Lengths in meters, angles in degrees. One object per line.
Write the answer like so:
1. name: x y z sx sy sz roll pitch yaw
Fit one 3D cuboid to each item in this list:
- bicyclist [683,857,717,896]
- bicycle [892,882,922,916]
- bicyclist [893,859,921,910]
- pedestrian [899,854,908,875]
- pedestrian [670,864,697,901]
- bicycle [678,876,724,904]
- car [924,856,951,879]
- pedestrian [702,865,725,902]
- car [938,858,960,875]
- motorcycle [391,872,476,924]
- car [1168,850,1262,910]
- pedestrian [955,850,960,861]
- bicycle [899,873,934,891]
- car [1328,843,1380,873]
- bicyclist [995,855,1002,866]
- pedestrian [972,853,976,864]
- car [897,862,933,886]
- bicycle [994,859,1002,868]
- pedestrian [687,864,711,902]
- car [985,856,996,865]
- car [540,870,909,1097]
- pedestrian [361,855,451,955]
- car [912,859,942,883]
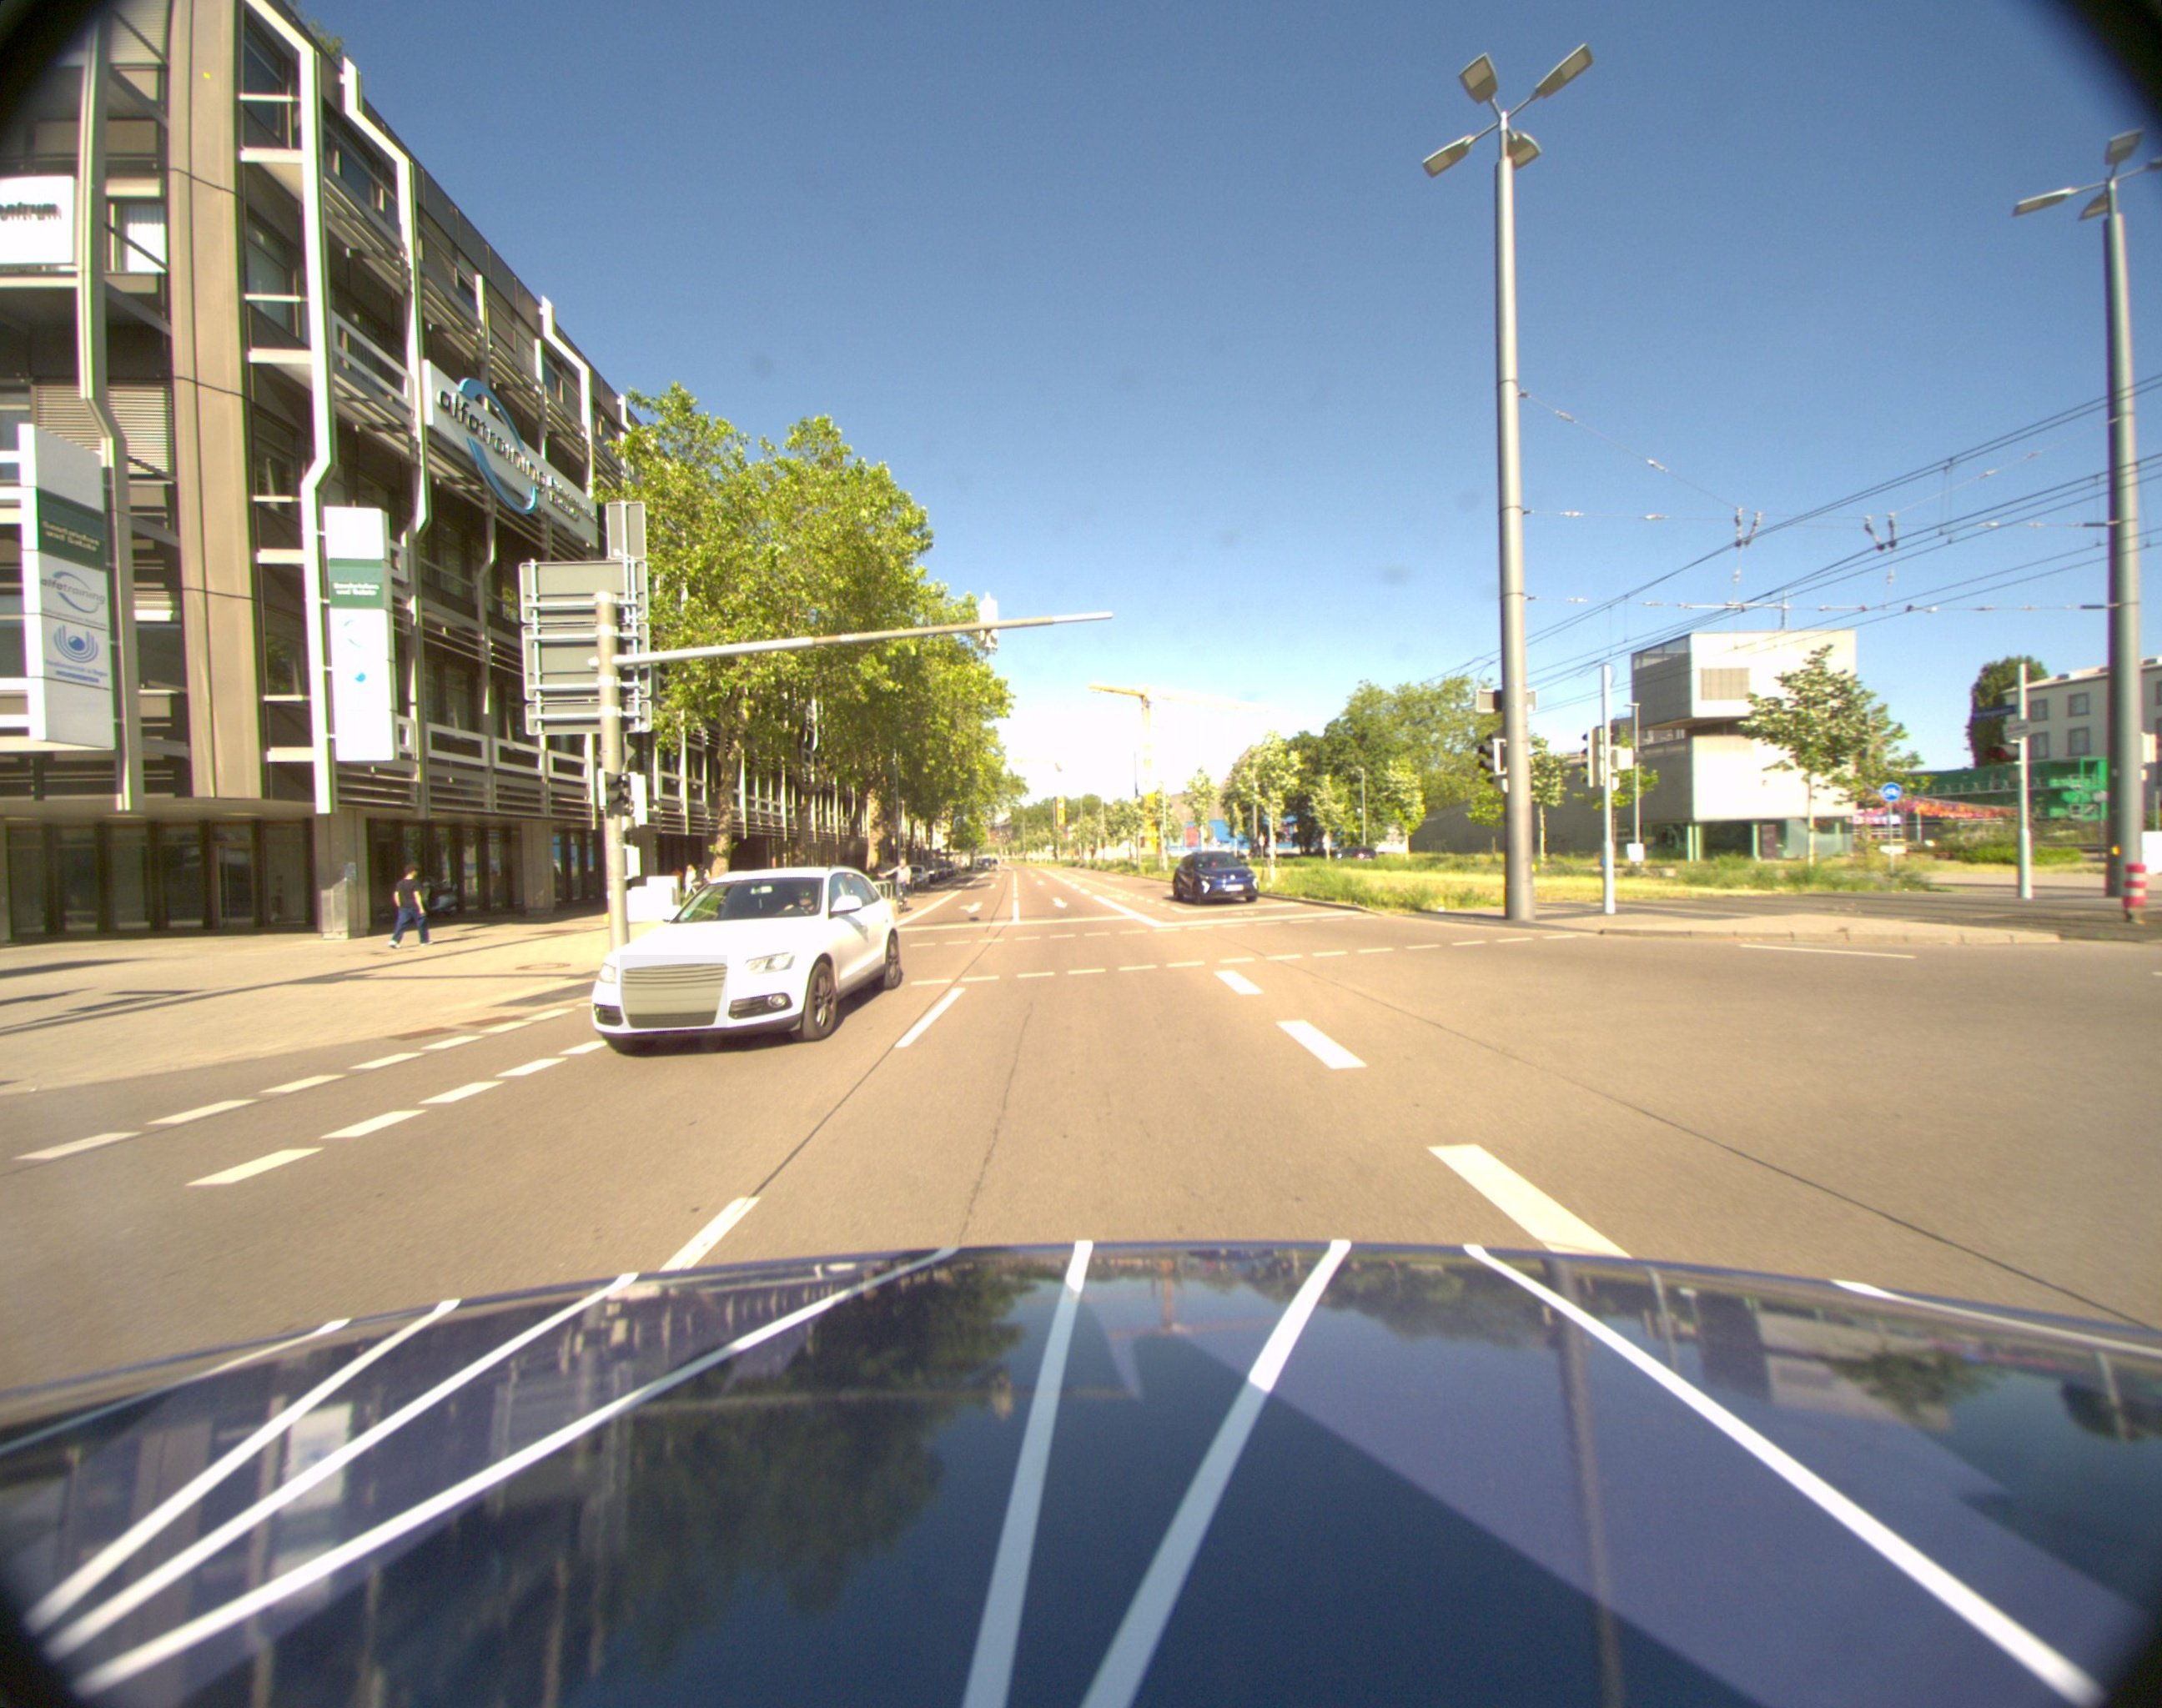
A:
1. bicyclist: -14.878 0.858 29.705 0.883 1.468 0.883 -2 1 -5
2. bicycle: -5.944 1.524 26.044 0.711 0.987 1.922 -4 0 -6
3. bicyclist: -5.974 1.031 26.105 0.711 1.678 0.852 -4 1 -6
4. pedestrian: -17.553 1.035 75.125 0.741 2.002 0.625 -2 1 -4
5. pedestrian: -17.357 1.220 33.203 0.668 1.591 1.009 0 0 -4
6. bicycle: -14.876 1.401 29.834 0.883 0.979 2.050 -2 0 -5
7. car: -11.797 1.052 62.847 1.753 1.810 4.335 -1 0 -5
8. pedestrian: -15.886 1.260 32.857 0.668 1.591 0.727 0 0 -4
9. car: -12.869 1.210 74.200 1.753 1.545 4.335 -1 0 -5
10. motorcycle: -19.607 1.305 23.081 0.825 1.433 2.121 -2 0 -5
11. car: 4.009 0.714 23.428 1.775 1.579 4.086 -4 1 -5
12. pedestrian: -20.893 0.263 128.665 0.591 1.830 0.696 -2 1 -5
13. bicycle: -9.181 1.556 42.418 1.849 0.954 0.711 0 0 -9
14. car: 18.905 0.299 52.780 1.876 1.944 3.998 -2 0 -5
15. bicyclist: -10.806 0.879 98.970 0.830 1.380 0.903 -2 1 -5
16. pedestrian: -17.800 0.789 126.242 0.591 1.830 0.569 -2 1 -5
17. car: -10.963 1.274 50.430 1.753 1.481 4.558 -1 0 -5
18. bicycle: -10.801 1.249 98.970 0.845 1.123 2.552 -2 0 -4
19. pedestrian: -16.681 1.257 33.183 0.668 1.591 0.727 0 0 -3
20. car: -16.323 1.161 137.141 2.000 1.598 3.894 -2 0 -7
21. car: -3.281 1.063 8.145 1.824 1.604 4.412 -2 0 0
22. pedestrian: -14.239 1.045 16.070 0.950 2.002 1.078 -2 1 -12
23. car: -11.512 1.244 57.087 1.753 1.624 4.335 -1 0 -5
